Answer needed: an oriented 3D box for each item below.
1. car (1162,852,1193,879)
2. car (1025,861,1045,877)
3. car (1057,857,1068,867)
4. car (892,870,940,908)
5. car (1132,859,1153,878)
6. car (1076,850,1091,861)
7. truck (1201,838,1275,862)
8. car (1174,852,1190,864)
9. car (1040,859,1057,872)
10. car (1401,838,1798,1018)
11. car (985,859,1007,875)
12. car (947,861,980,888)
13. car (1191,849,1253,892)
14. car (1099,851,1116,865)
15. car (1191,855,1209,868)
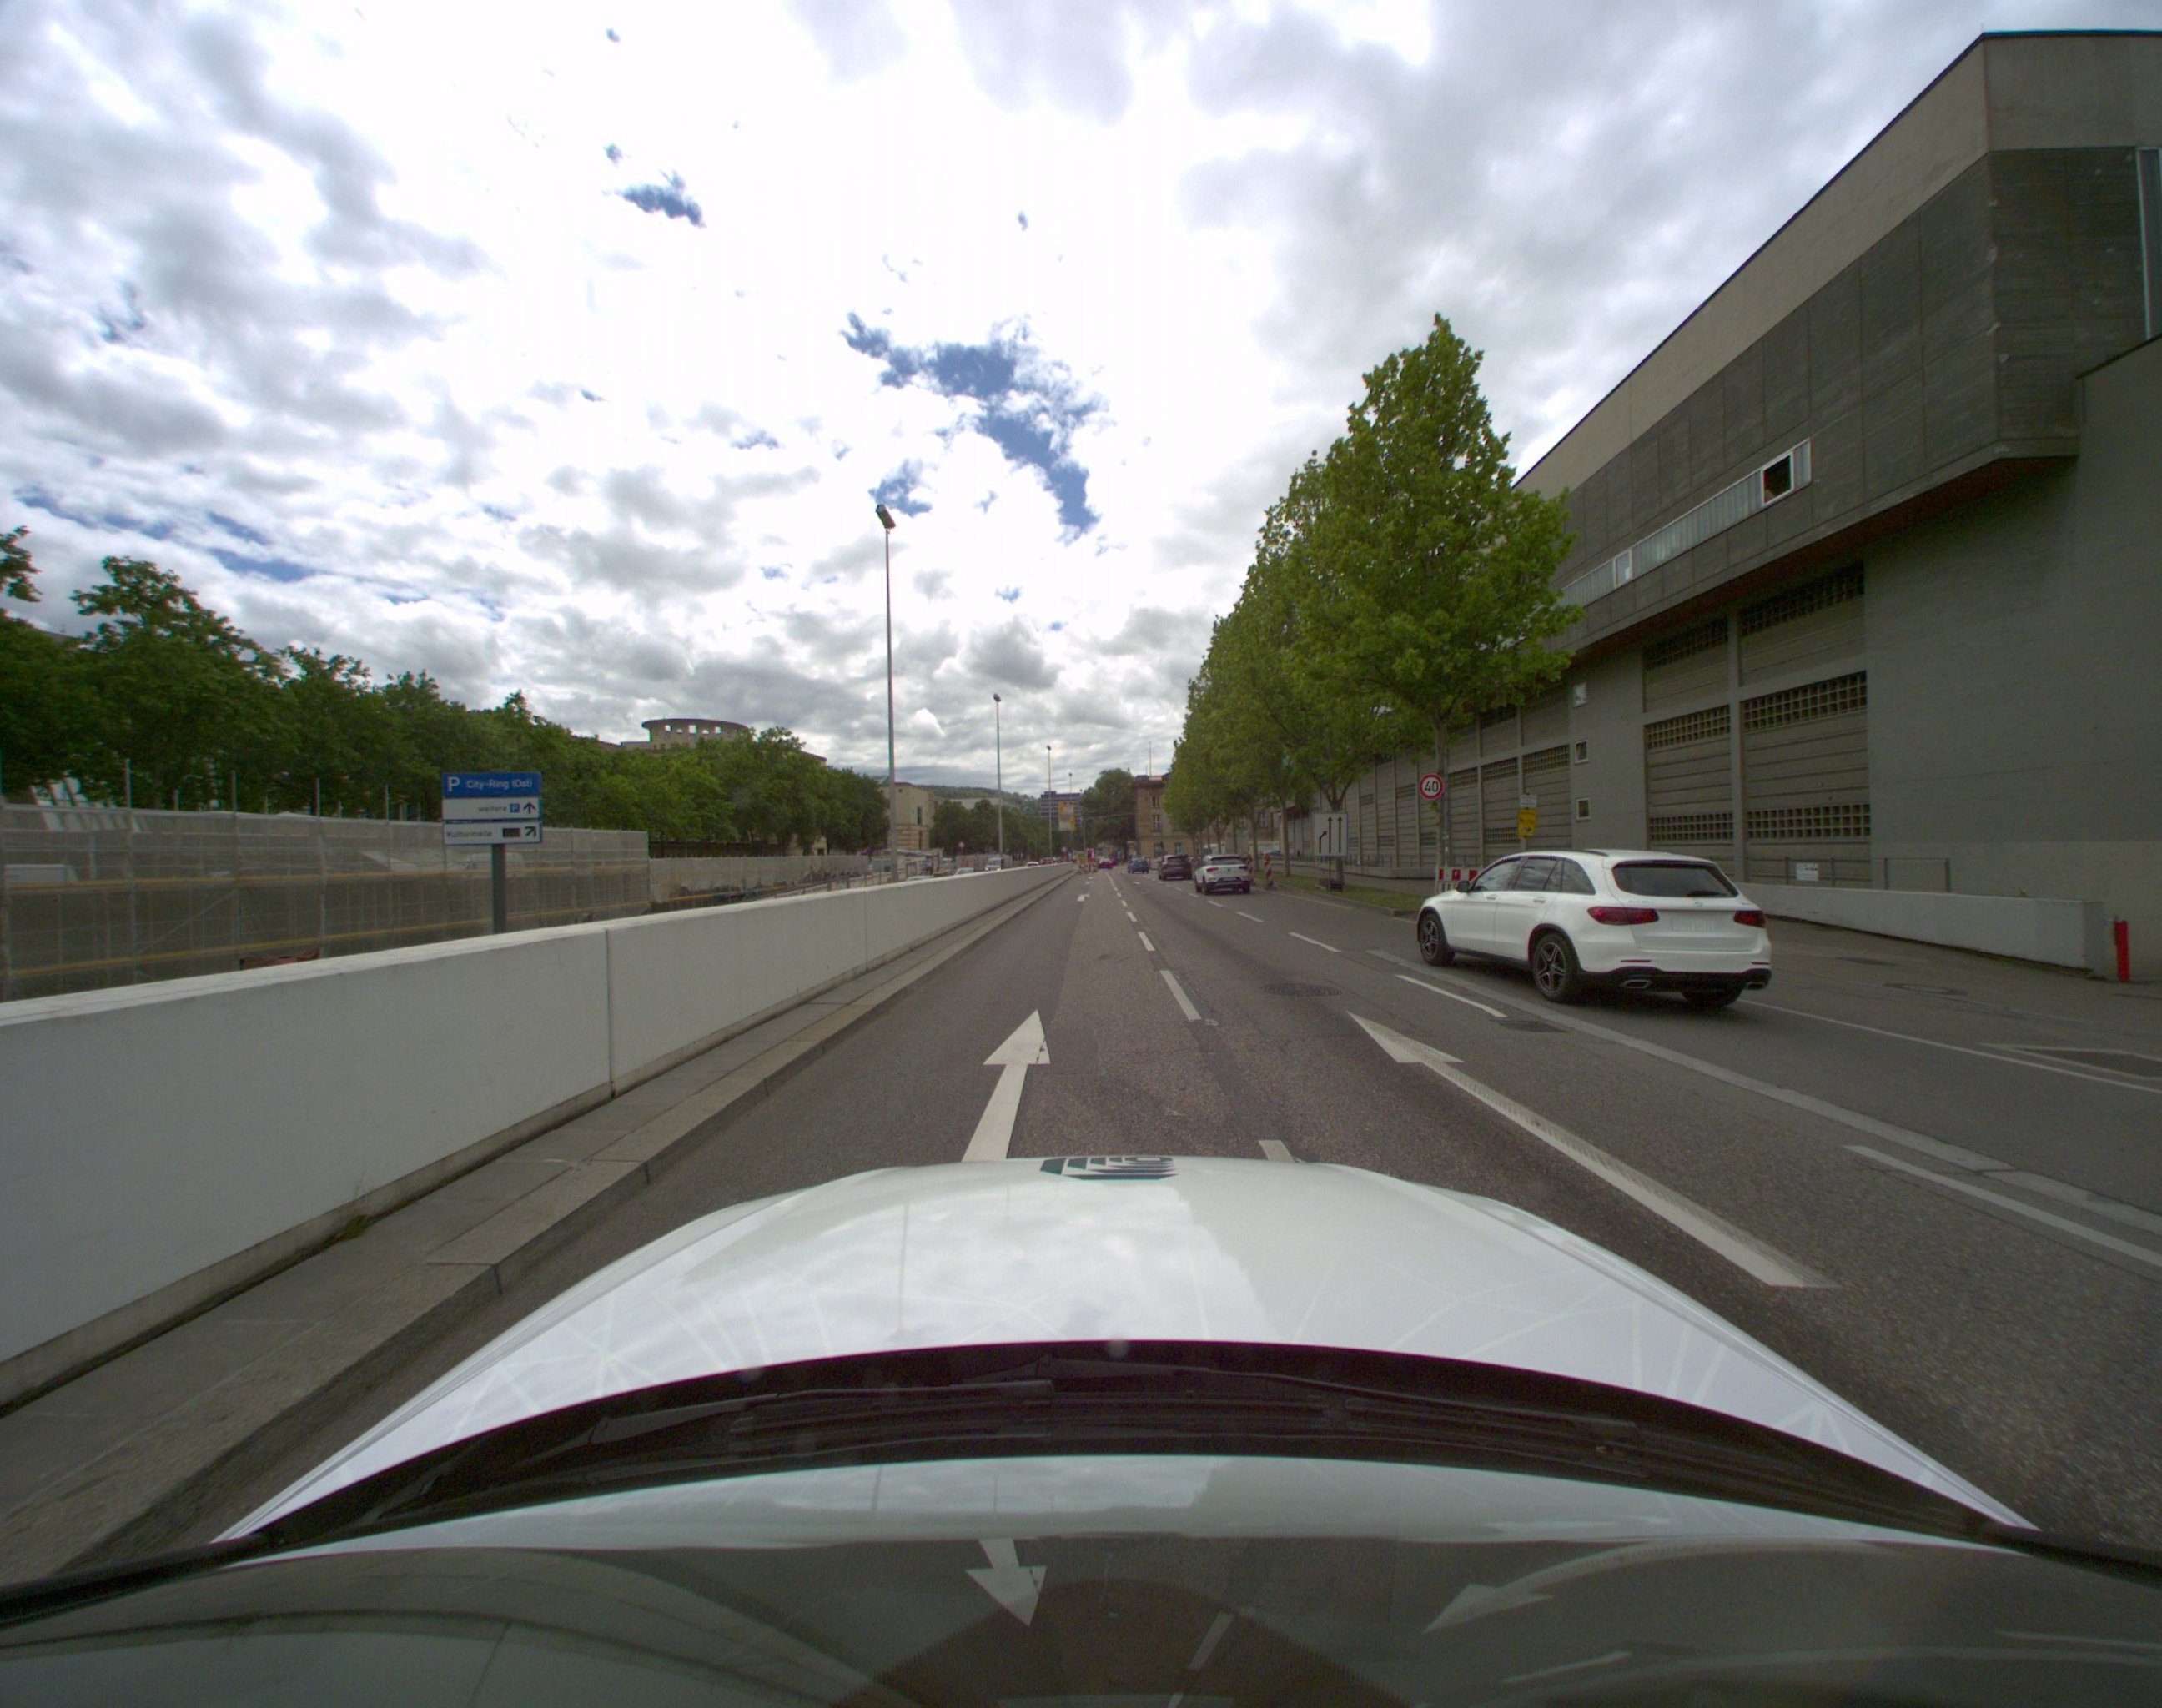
[{"bbox_3d":[6.366,0.741,54.313,1.815,1.567,4.486,-4,0,5],"label":"car"},{"bbox_3d":[-4.740,1.515,84.304,1.743,1.568,3.379,-1,0,3],"label":"car"},{"bbox_3d":[-3.082,1.401,137.778,1.746,1.568,4.329,-1,-1,-1],"label":"car"},{"bbox_3d":[-10.137,2.126,50.355,1.986,2.013,4.001,-2,1,1],"label":"car"},{"bbox_3d":[5.990,1.366,78.815,1.814,1.740,4.488,-2,0,6],"label":"car"},{"bbox_3d":[0.489,0.358,176.779,2.569,2.374,5.535,-2,0,6],"label":"car"},{"bbox_3d":[22.300,-0.570,115.807,9.990,3.051,2.570,-2,-1,2],"label":"truck"},{"bbox_3d":[13.350,0.563,107.894,1.744,1.568,4.333,-1,-1,2],"label":"car"},{"bbox_3d":[-4.200,1.467,104.691,1.744,1.567,3.379,-4,-1,2],"label":"car"},{"bbox_3d":[5.725,0.678,9.850,1.807,1.642,4.549,-1,0,-2],"label":"car"},{"bbox_3d":[-9.094,1.419,87.504,1.744,1.567,3.379,-4,-1,2],"label":"car"},{"bbox_3d":[-9.722,1.659,67.538,1.986,2.013,4.001,-2,1,1],"label":"car"},{"bbox_3d":[5.653,0.636,33.131,1.745,1.567,4.331,-2,0,0],"label":"car"},{"bbox_3d":[3.439,0.557,106.276,1.814,1.740,4.488,-2,0,6],"label":"car"},{"bbox_3d":[15.742,1.021,107.851,1.849,1.568,4.333,-1,-1,2],"label":"car"}]
